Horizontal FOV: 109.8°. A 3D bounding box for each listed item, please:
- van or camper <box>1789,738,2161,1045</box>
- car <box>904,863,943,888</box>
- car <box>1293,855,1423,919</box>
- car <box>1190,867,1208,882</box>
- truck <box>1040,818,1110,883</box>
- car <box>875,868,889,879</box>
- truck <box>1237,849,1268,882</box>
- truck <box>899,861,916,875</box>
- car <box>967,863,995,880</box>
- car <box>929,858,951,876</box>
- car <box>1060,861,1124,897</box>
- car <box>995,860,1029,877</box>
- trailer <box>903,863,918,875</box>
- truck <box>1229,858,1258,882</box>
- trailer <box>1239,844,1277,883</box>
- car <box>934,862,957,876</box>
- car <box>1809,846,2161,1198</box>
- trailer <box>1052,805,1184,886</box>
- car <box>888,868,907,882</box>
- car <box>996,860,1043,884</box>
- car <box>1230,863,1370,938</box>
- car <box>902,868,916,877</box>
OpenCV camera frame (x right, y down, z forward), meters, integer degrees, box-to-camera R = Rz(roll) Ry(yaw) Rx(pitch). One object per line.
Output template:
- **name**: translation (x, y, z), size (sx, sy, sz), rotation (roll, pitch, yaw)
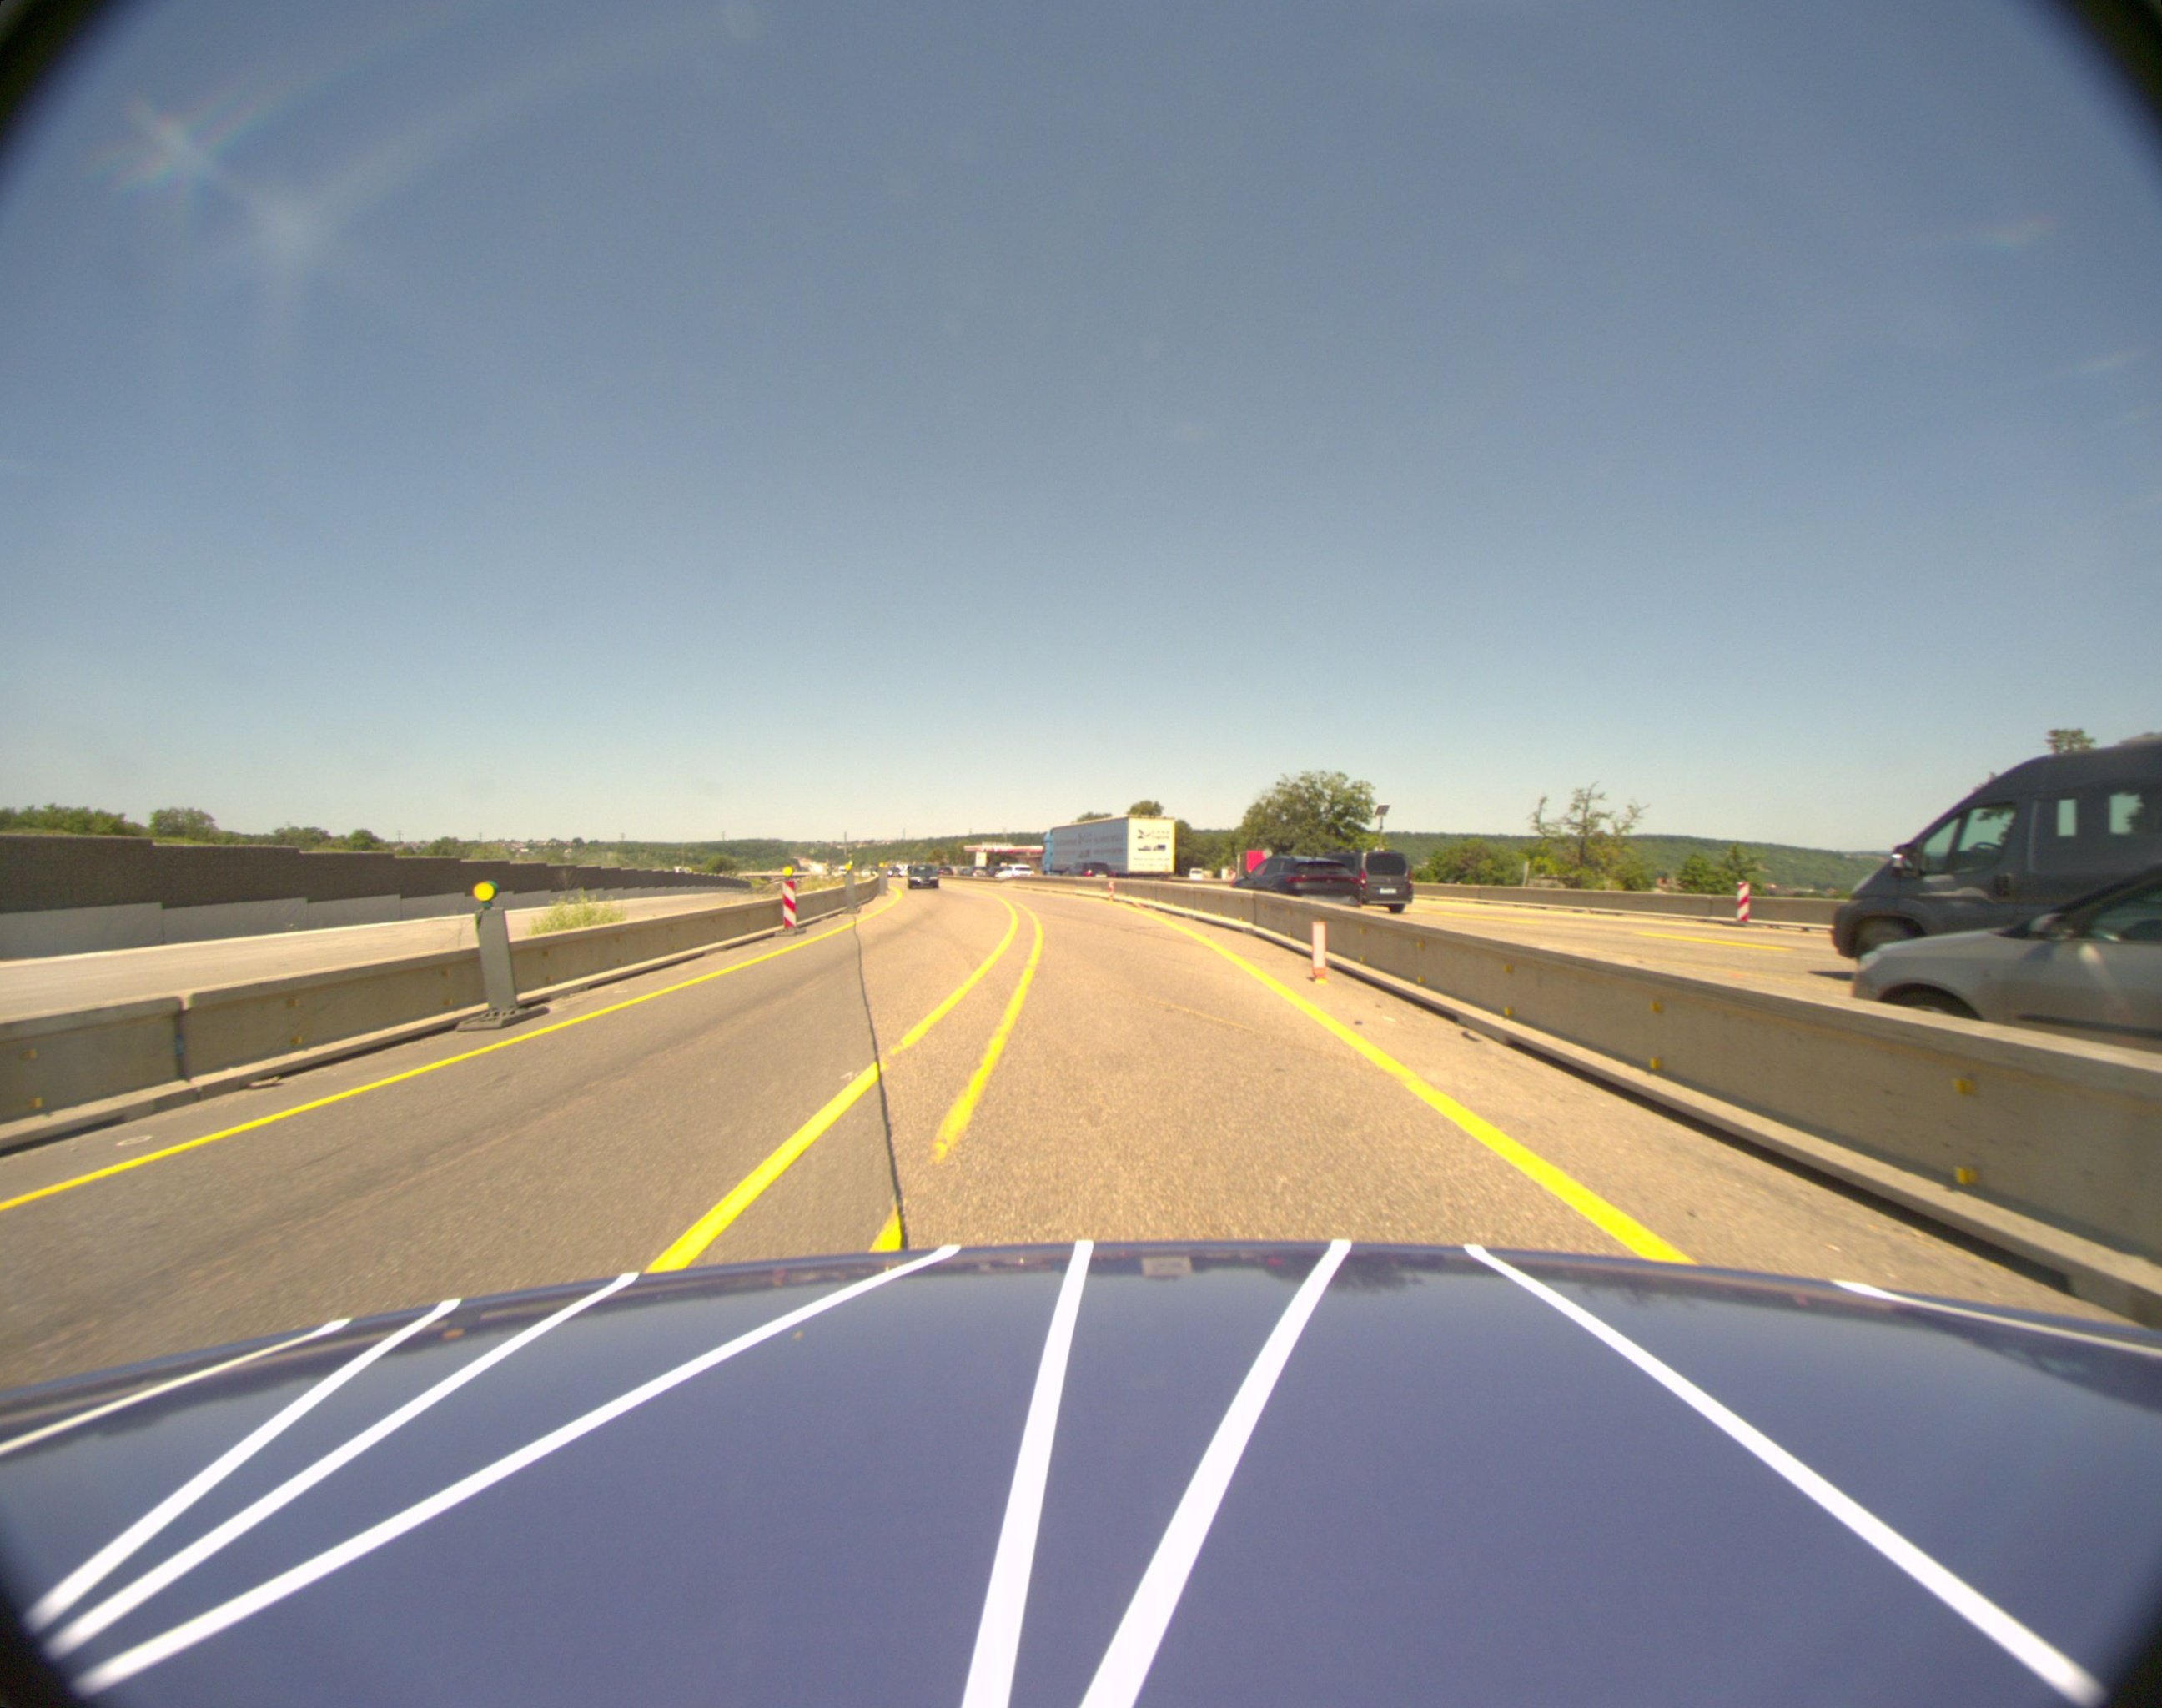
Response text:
- **van or camper**: translation (9.946, 0.321, 6.398), size (2.104, 2.526, 6.305), rotation (1, 0, 1)
- **car**: translation (-9.085, 1.258, 43.682), size (1.813, 1.298, 3.995), rotation (1, -2, -17)
- **car**: translation (8.443, 0.949, 23.670), size (1.781, 1.754, 4.707), rotation (1, -1, -8)
- **car**: translation (15.761, 2.745, 101.596), size (1.920, 1.929, 5.101), rotation (0, -2, 13)
- **truck**: translation (-0.516, -0.155, 51.728), size (2.926, 4.103, 6.129), rotation (1, -1, -19)
- **car**: translation (-33.312, 3.217, 127.113), size (1.710, 1.674, 3.783), rotation (-2, 0, -20)
- **truck**: translation (21.374, 1.465, 94.941), size (3.156, 3.961, 6.353), rotation (1, -1, 8)
- **truck**: translation (-35.214, 2.806, 153.774), size (2.490, 2.807, 8.117), rotation (1, -2, -18)
- **car**: translation (-8.695, 1.519, 65.605), size (1.596, 1.432, 4.119), rotation (2, -1, -18)
- **car**: translation (-20.528, 1.914, 110.489), size (1.921, 2.385, 6.444), rotation (-6, 0, -19)
- **car**: translation (0.443, 1.180, 36.975), size (1.775, 1.598, 4.703), rotation (1, -1, -16)
- **car**: translation (-6.261, 1.285, 68.698), size (2.001, 1.390, 4.574), rotation (-3, -1, -18)
- **trailer**: translation (-33.013, 2.893, 147.303), size (2.191, 2.300, 5.606), rotation (1, -2, -19)
- **truck**: translation (22.296, 2.230, 104.766), size (2.825, 3.045, 7.125), rotation (1, -1, 3)
- **trailer**: translation (20.476, 1.210, 88.660), size (3.156, 4.086, 14.177), rotation (1, -1, 8)
- **car**: translation (-14.912, 1.642, 83.667), size (1.781, 1.419, 4.763), rotation (2, -2, -18)
- **car**: translation (5.862, 0.770, 3.157), size (1.761, 1.606, 4.229), rotation (-2, 0, 4)
- **trailer**: translation (1.660, -0.268, 45.397), size (2.926, 4.103, 13.895), rotation (1, -1, -19)
- **car**: translation (-23.577, 2.657, 97.382), size (1.820, 1.652, 3.994), rotation (-3, 0, -21)
- **car**: translation (-4.240, 1.233, 52.043), size (2.024, 1.436, 4.580), rotation (-2, 0, -20)
- **car**: translation (4.926, 0.983, 17.753), size (1.694, 1.472, 4.469), rotation (1, -1, -4)
- **car**: translation (-27.809, 2.962, 122.779), size (1.824, 1.368, 4.241), rotation (-2, 0, -18)
